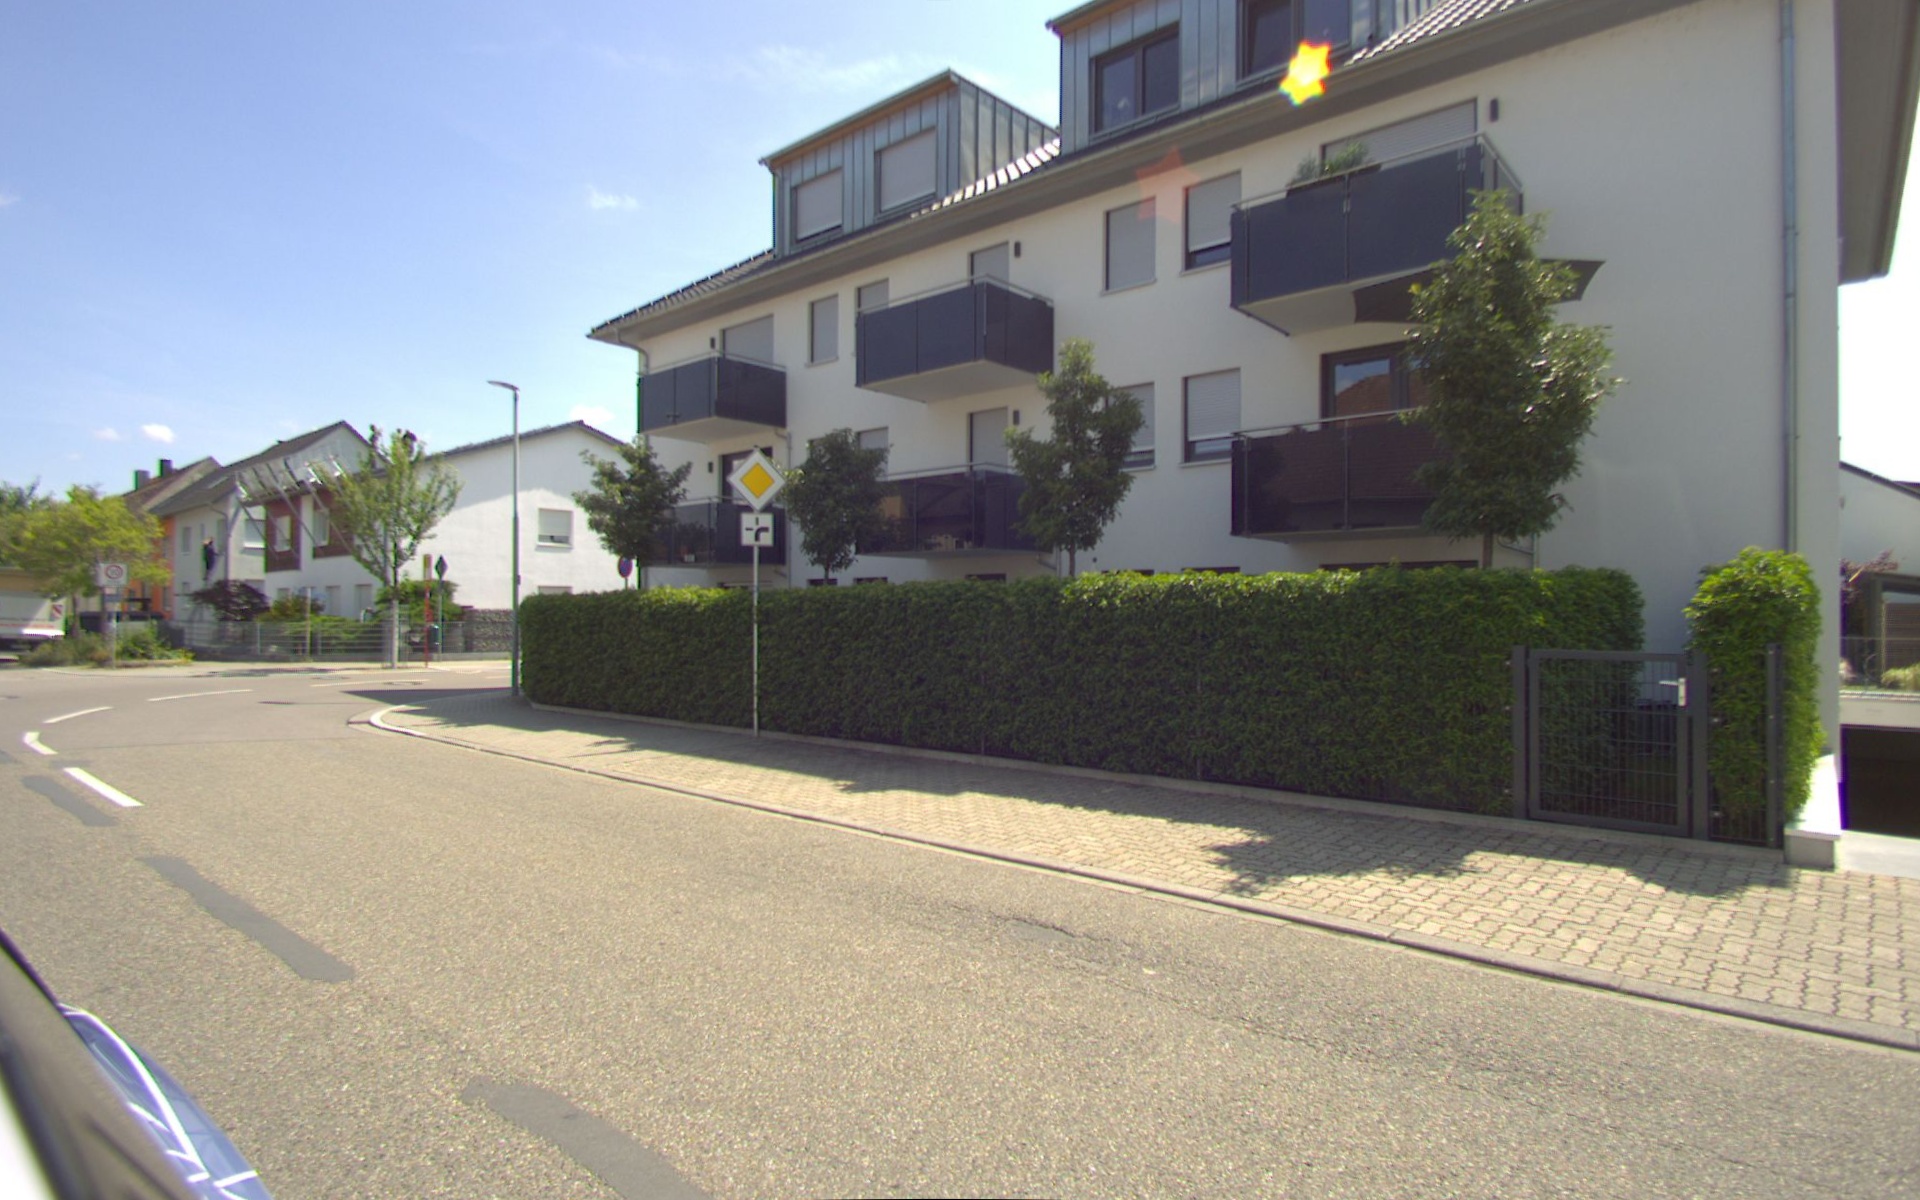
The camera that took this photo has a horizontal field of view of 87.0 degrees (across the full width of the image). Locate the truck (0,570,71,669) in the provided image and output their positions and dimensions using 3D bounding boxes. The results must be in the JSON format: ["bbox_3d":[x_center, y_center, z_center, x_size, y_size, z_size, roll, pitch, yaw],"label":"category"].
[{"bbox_3d":[-34.416,0.719,36.360,7.029,3.271,2.413,-1,-5,39],"label":"truck"}]
